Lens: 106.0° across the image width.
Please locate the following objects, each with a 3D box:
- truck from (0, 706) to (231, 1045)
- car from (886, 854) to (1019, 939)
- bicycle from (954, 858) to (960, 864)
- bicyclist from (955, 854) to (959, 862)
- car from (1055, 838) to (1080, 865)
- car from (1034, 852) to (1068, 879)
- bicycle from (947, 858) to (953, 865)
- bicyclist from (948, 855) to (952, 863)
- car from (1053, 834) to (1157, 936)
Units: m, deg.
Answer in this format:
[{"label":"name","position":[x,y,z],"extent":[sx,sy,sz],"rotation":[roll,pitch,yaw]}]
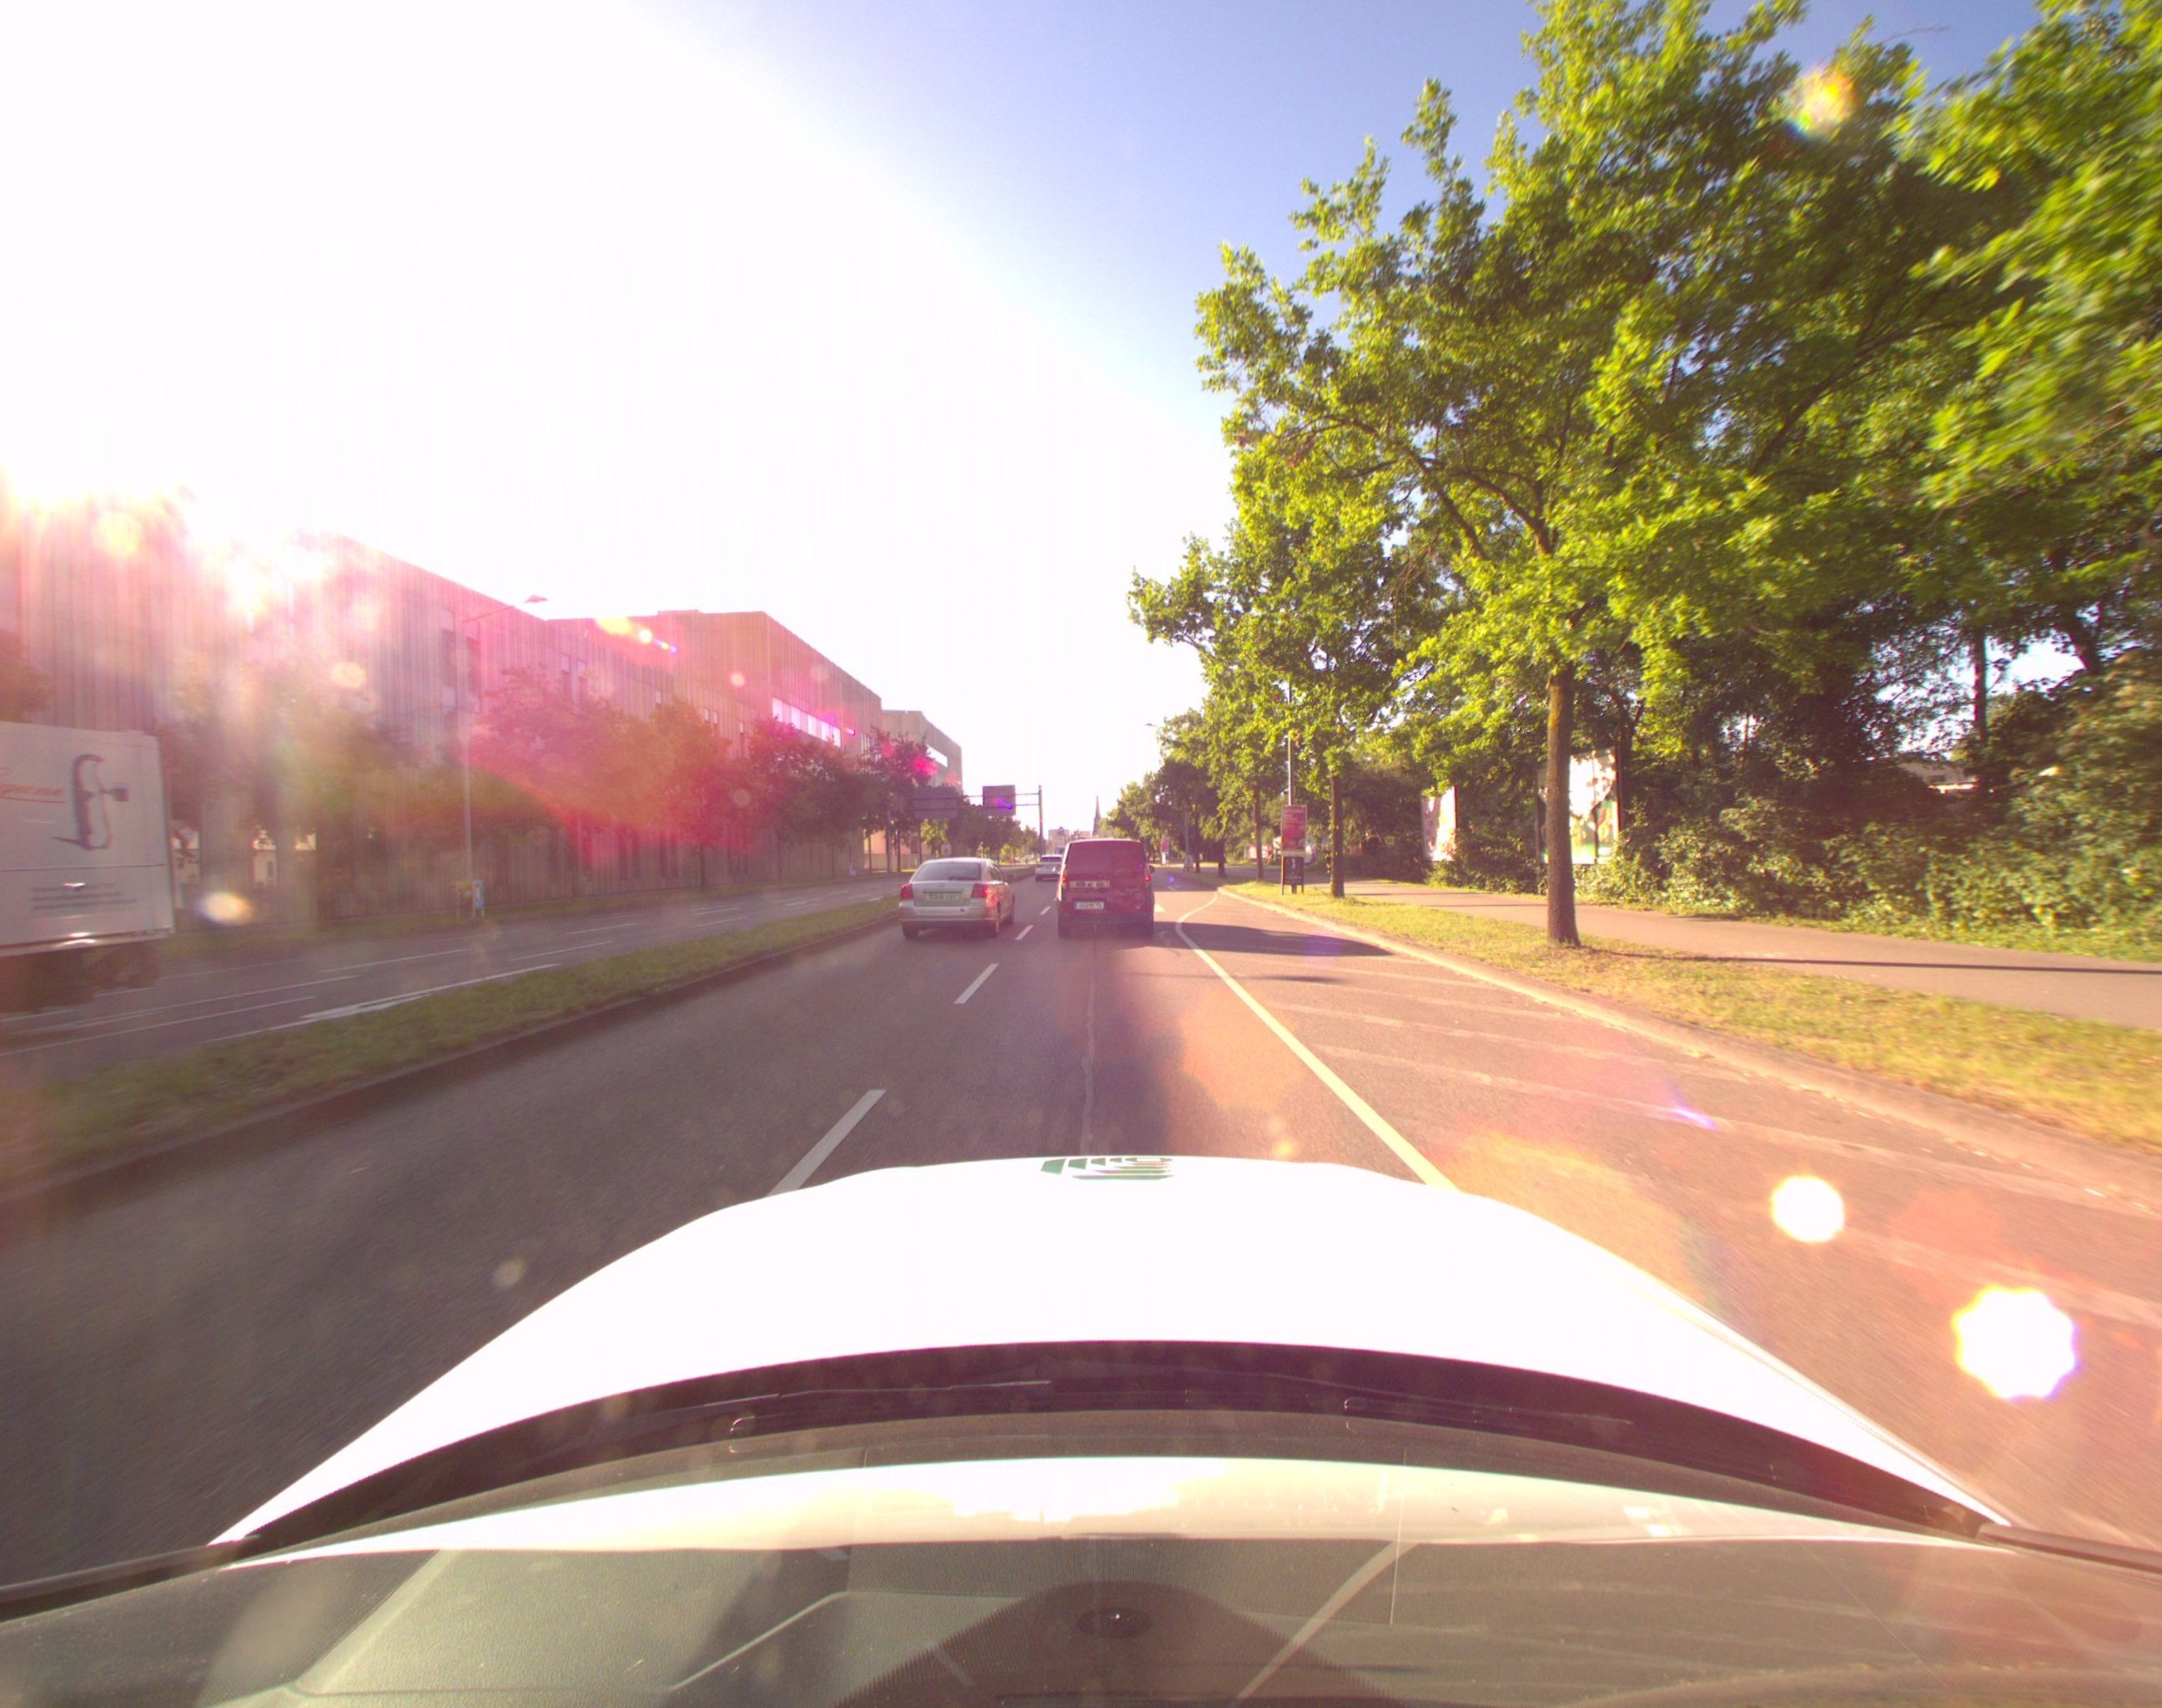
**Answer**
[{"label":"truck","position":[-10.850,0.261,5.383],"extent":[2.676,2.960,7.117],"rotation":[-4,0,2]},{"label":"car","position":[-2.362,0.731,16.048],"extent":[1.834,1.456,4.163],"rotation":[-1,0,1]},{"label":"bicycle","position":[-20.871,1.231,136.917],"extent":[0.568,1.003,2.096],"rotation":[-2,-1,0]},{"label":"bicyclist","position":[-20.888,0.715,136.837],"extent":[0.560,1.392,0.747],"rotation":[-2,-1,0]},{"label":"car","position":[-0.942,-0.164,58.748],"extent":[1.655,1.856,3.559],"rotation":[-2,0,1]},{"label":"car","position":[-1.615,0.621,44.975],"extent":[1.655,1.398,3.559],"rotation":[-2,0,1]},{"label":"bicycle","position":[-22.112,1.266,137.439],"extent":[0.485,1.003,2.096],"rotation":[-2,-1,0]},{"label":"bicyclist","position":[-22.125,0.807,137.533],"extent":[0.480,1.395,0.844],"rotation":[-2,-1,0]},{"label":"car","position":[0.452,0.551,16.218],"extent":[1.800,1.759,4.006],"rotation":[-1,0,1]}]
